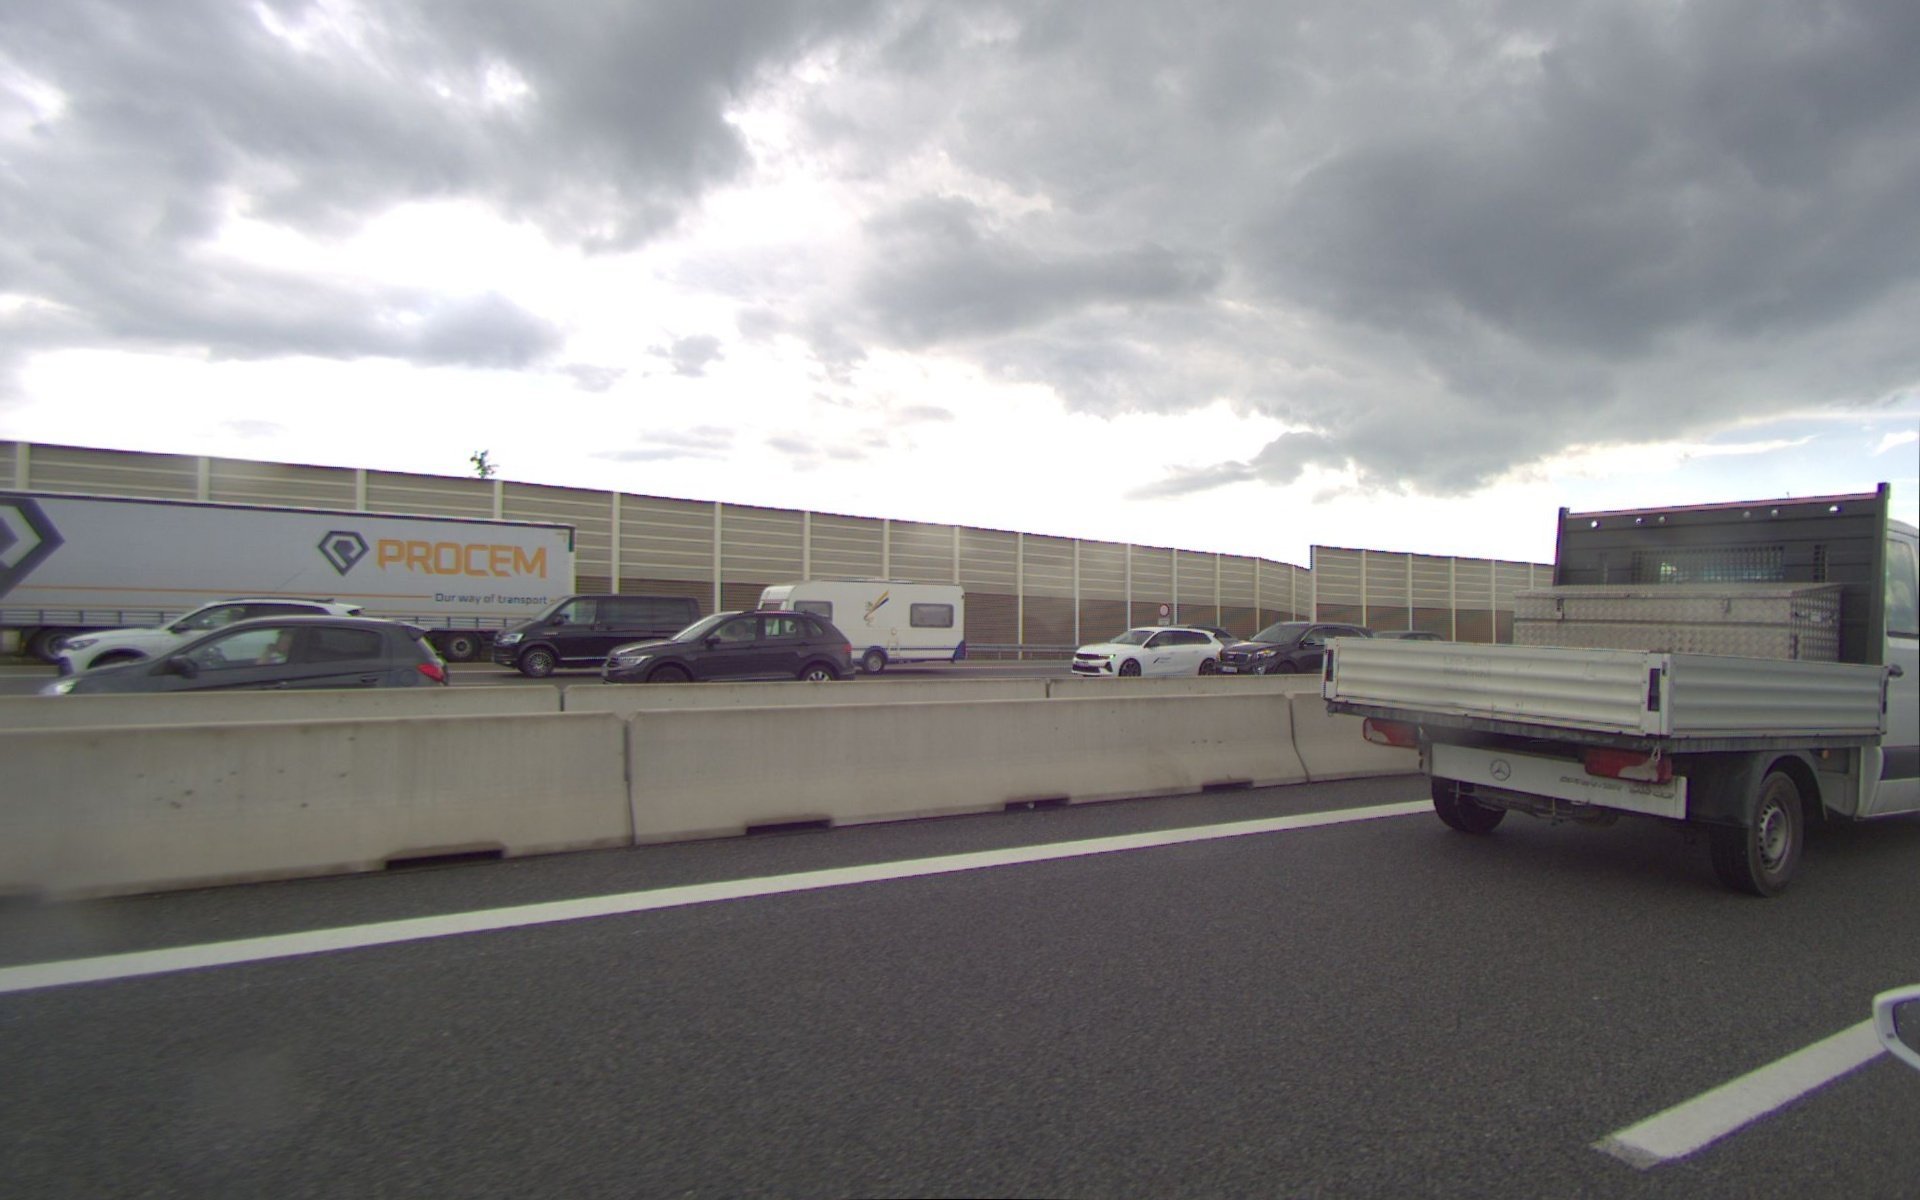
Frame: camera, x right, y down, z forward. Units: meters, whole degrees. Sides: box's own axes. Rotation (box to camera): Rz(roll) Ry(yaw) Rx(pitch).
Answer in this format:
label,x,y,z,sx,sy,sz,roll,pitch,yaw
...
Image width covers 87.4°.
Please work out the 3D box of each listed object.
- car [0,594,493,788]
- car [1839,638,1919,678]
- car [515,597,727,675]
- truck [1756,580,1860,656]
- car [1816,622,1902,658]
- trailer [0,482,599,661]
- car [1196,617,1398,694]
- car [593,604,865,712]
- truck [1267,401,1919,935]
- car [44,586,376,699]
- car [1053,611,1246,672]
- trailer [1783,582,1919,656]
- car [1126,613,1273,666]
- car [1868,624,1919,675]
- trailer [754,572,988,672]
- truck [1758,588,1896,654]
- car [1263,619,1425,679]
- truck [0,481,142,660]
label,x,y,z,sx,sy,sz,roll,pitch,yaw
car,-7.495,0.853,10.727,4.361,1.722,1.945,1,-1,-32
car,40.835,2.550,43.989,4.938,1.620,2.051,2,-1,-30
car,-8.193,0.856,24.369,4.604,1.722,1.946,1,-1,-30
truck,47.601,1.049,56.366,5.658,4.088,2.732,2,-1,-30
car,45.543,2.014,50.855,4.957,1.722,1.864,1,-1,-31
trailer,-17.249,-0.484,27.302,13.696,4.085,2.922,2,-1,-30
car,8.431,1.328,25.010,5.031,1.722,2.050,1,-1,-32
car,-4.096,0.973,17.982,4.361,1.722,1.945,1,-1,-32
truck,5.644,0.395,7.478,7.066,2.472,2.295,2,-1,-31
car,-12.618,0.697,17.321,4.361,1.722,1.945,1,-1,-32
car,5.141,1.133,27.051,4.937,1.511,2.051,2,-1,-29
trailer,54.390,1.246,60.409,14.283,4.085,2.748,2,-1,-30
car,8.423,1.372,35.148,5.030,1.722,2.051,1,-1,-31
car,34.117,1.731,35.502,4.173,1.722,1.864,1,-1,-31
trailer,-2.410,0.629,27.906,6.013,2.528,2.448,1,-1,-30
truck,49.615,1.238,57.407,9.873,3.574,2.684,2,0,-29
car,11.995,1.492,31.277,5.030,1.722,2.051,1,-1,-31
truck,-23.327,-0.684,23.752,5.658,4.088,2.903,2,-1,-30
